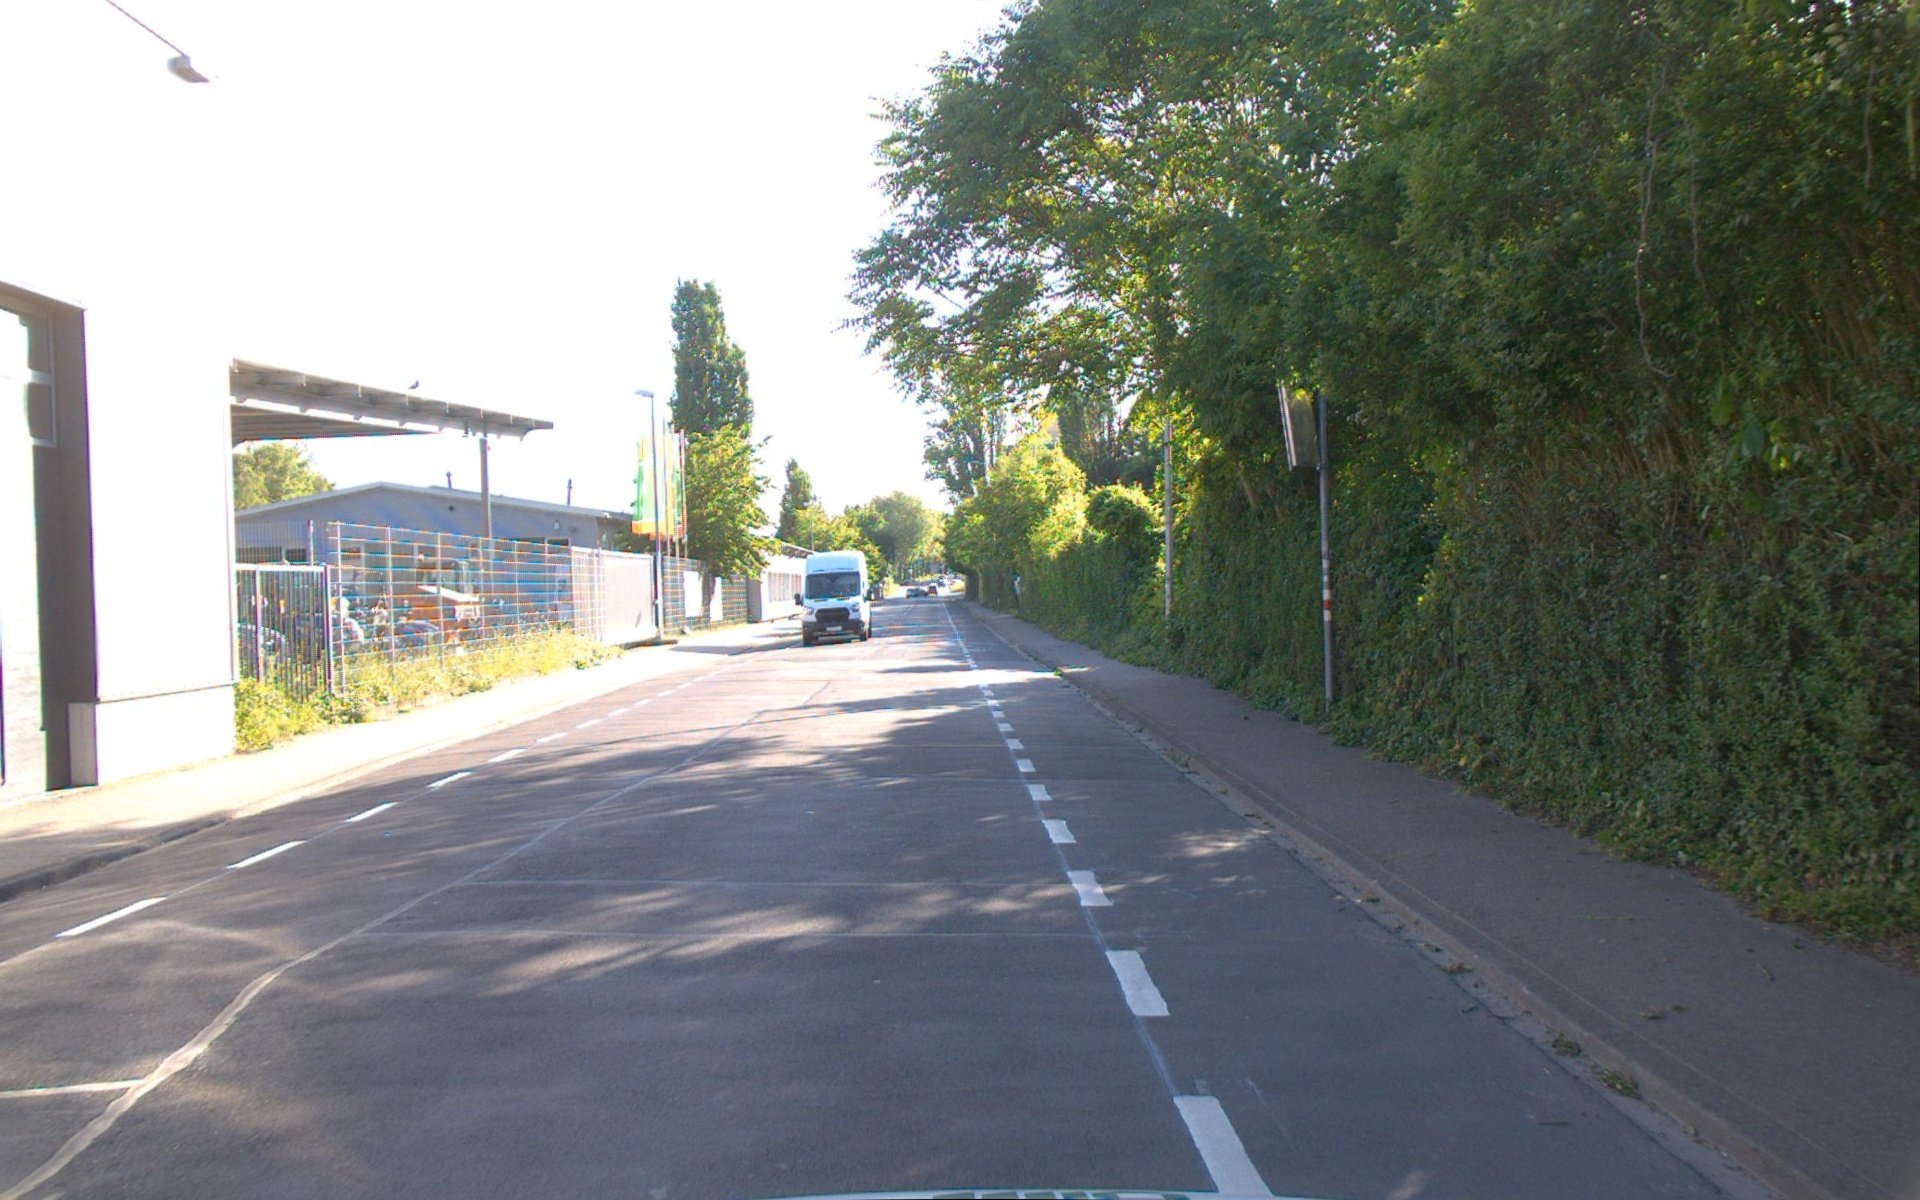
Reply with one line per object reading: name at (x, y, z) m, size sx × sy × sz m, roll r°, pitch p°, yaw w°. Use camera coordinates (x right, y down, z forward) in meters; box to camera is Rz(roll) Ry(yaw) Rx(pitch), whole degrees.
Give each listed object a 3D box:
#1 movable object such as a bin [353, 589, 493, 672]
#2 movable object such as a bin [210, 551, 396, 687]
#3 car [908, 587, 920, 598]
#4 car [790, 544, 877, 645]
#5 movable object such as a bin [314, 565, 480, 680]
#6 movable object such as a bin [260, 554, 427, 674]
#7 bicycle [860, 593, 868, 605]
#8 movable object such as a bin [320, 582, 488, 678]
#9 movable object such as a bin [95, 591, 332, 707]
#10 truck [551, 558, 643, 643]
movable object such as a bin at (-11.857, 0.657, 36.643) m, size 2.585 × 1.710 × 1.525 m, roll -2°, pitch 1°, yaw -3°
movable object such as a bin at (-11.167, 0.311, 28.124) m, size 2.711 × 2.202 × 1.521 m, roll -1°, pitch 1°, yaw 29°
car at (-7.118, -1.142, 256.070) m, size 1.903 × 1.680 × 4.309 m, roll 0°, pitch 0°, yaw -1°
car at (-3.883, -0.161, 51.747) m, size 2.080 × 2.828 × 5.926 m, roll -4°, pitch 0°, yaw 0°
movable object such as a bin at (-11.165, 0.443, 32.813) m, size 2.823 × 2.186 × 1.498 m, roll -1°, pitch 1°, yaw 26°
movable object such as a bin at (-11.633, 0.260, 31.223) m, size 2.735 × 2.163 × 1.384 m, roll -1°, pitch 1°, yaw 24°
bicycle at (-8.554, -0.079, 147.550) m, size 0.675 × 1.052 × 1.350 m, roll 0°, pitch 0°, yaw -1°
movable object such as a bin at (-11.658, 0.605, 34.800) m, size 2.978 × 1.867 × 1.525 m, roll -2°, pitch 1°, yaw -3°
movable object such as a bin at (-11.513, 0.731, 25.481) m, size 3.329 × 1.641 × 1.624 m, roll -1°, pitch 1°, yaw 29°
truck at (-12.731, -0.014, 58.373) m, size 2.036 × 2.809 × 5.763 m, roll -2°, pitch 1°, yaw -1°
